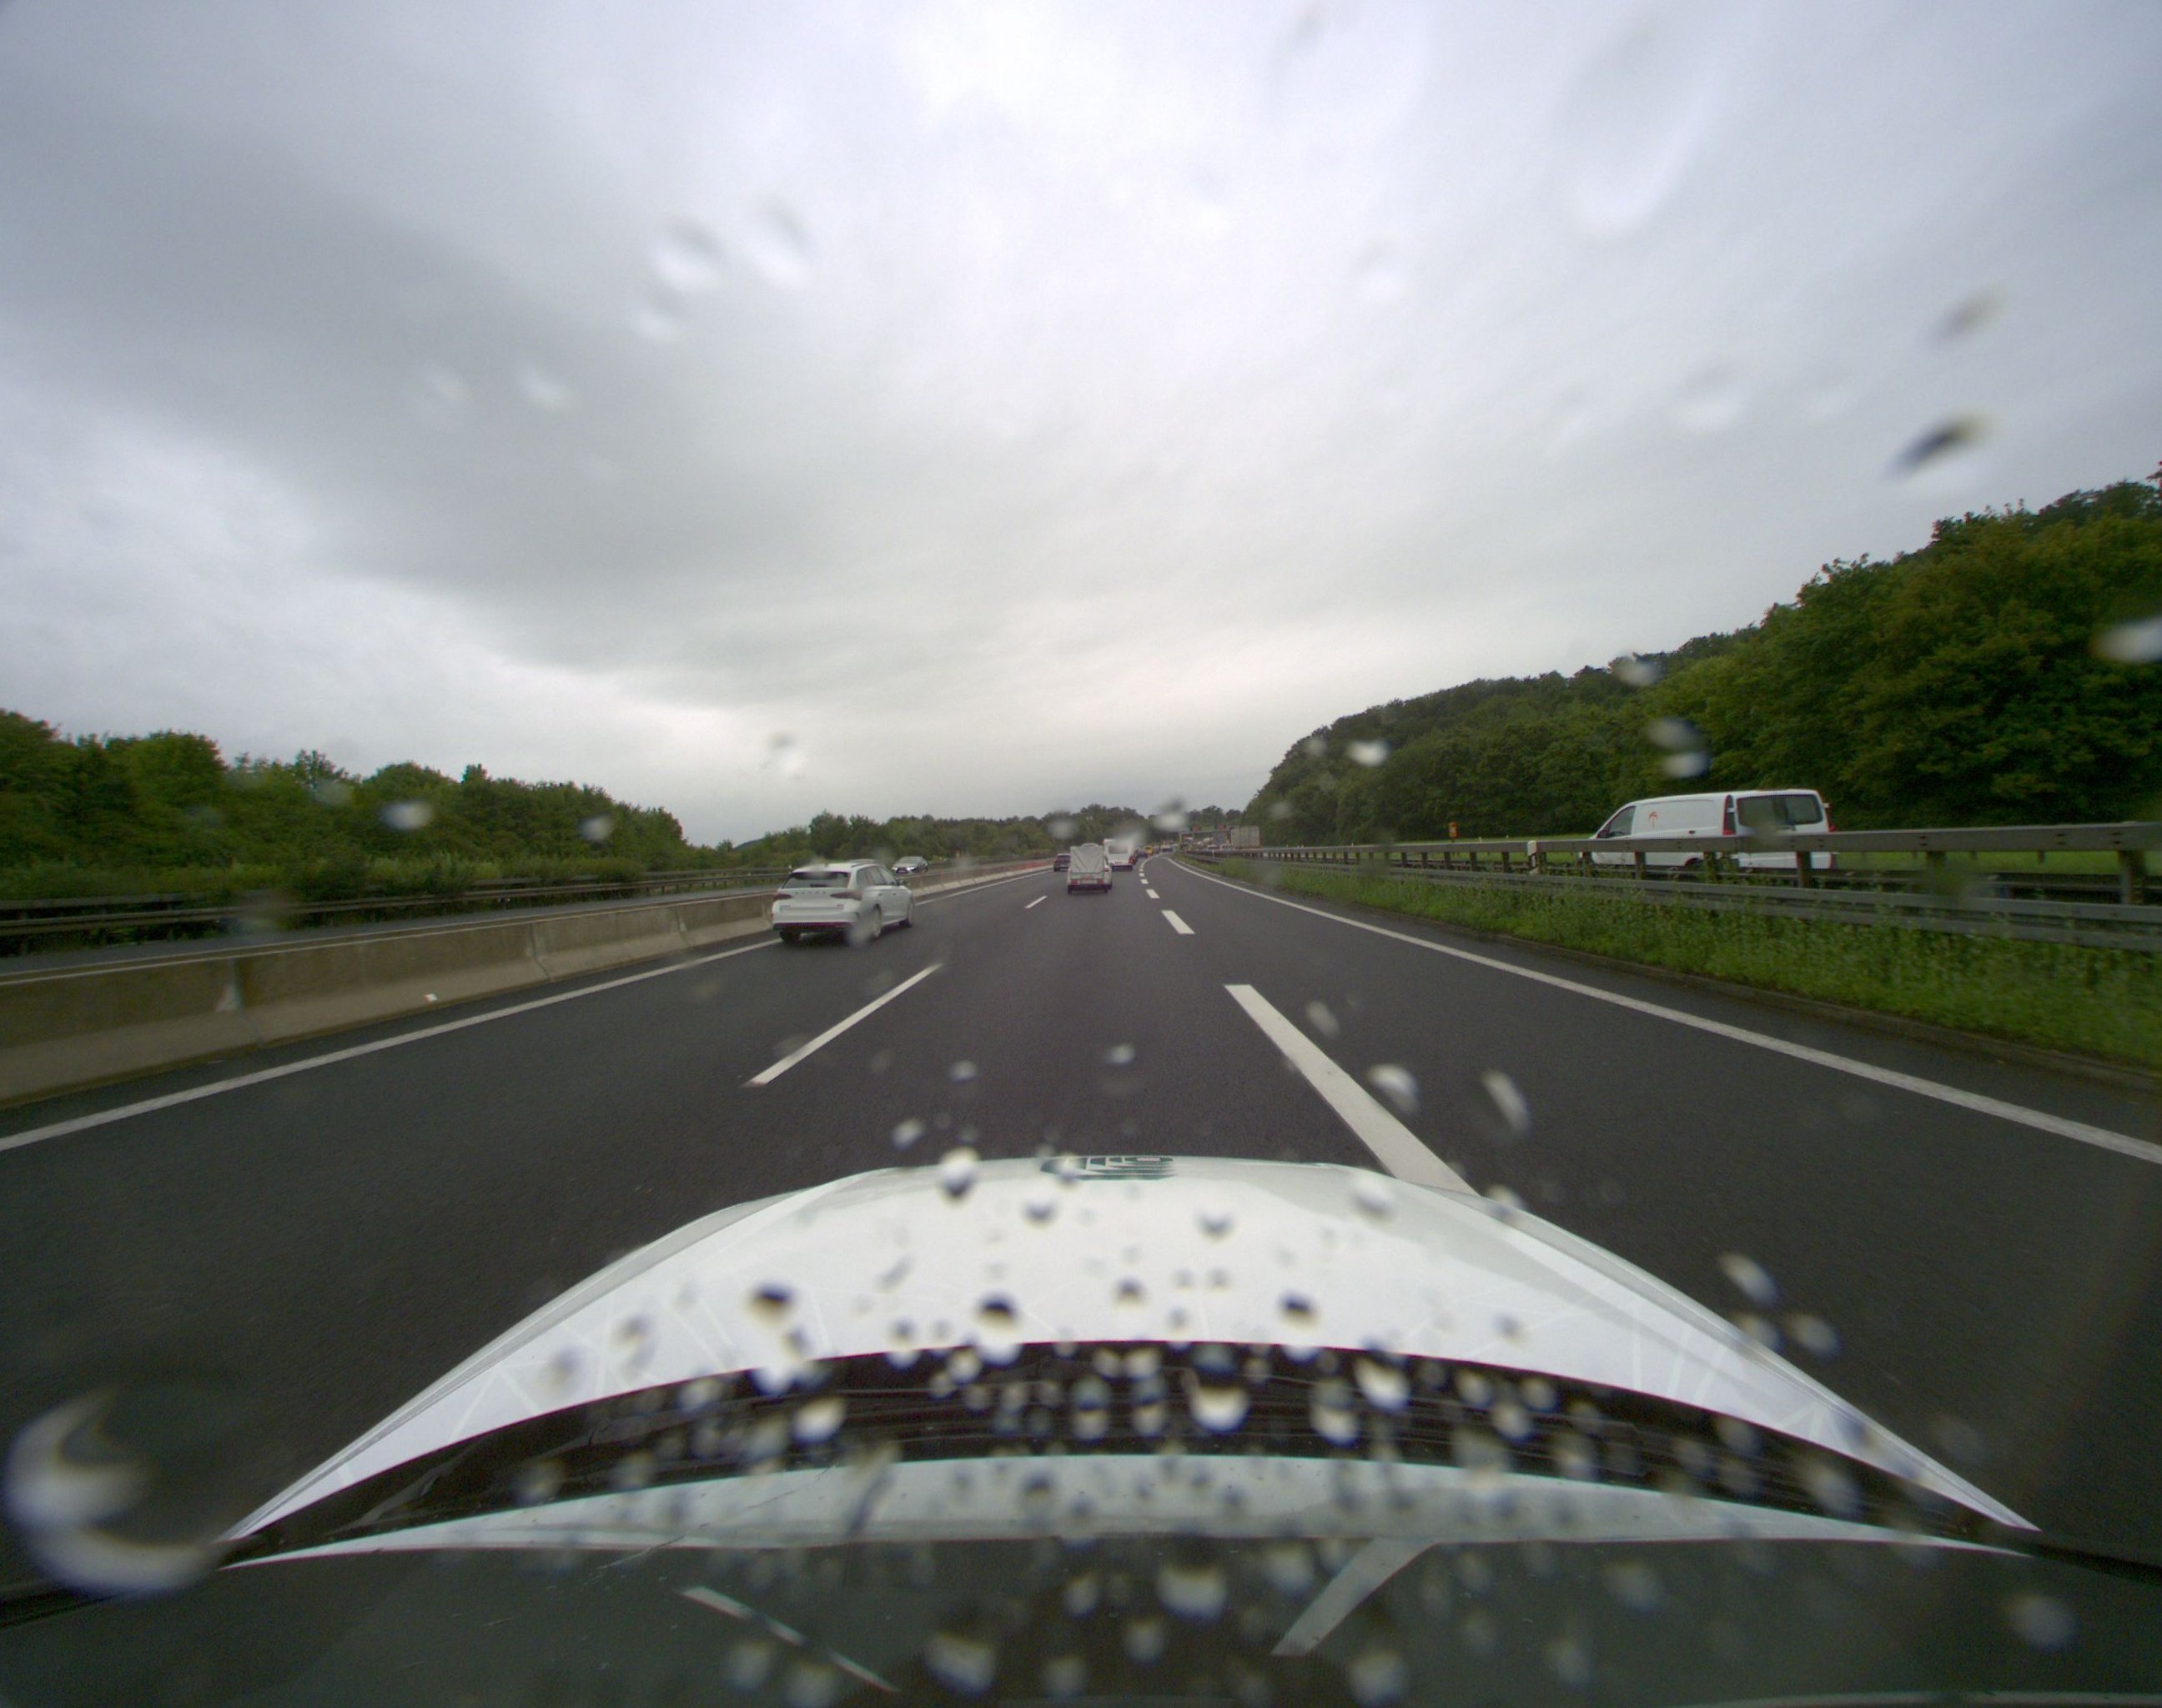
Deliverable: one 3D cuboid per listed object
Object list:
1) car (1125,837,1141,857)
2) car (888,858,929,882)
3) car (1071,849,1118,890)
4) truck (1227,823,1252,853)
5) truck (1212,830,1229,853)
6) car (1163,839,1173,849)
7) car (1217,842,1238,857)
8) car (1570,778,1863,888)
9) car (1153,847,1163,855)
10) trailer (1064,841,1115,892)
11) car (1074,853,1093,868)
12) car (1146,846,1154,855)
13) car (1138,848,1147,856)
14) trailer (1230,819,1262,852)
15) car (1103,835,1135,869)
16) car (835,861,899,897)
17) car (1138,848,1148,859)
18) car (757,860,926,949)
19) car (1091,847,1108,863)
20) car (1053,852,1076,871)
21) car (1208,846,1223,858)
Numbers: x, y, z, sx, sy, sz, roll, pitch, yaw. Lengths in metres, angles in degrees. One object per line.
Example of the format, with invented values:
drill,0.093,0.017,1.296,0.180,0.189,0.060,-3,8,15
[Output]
car,5.769,-0.751,90.288,1.668,2.067,4.004,-2,-1,4
car,-13.056,1.178,62.006,1.884,1.650,4.605,-2,0,2
car,0.661,0.646,35.783,1.810,1.616,4.782,-2,0,4
truck,21.719,-2.142,111.710,2.603,3.884,6.401,-2,-1,5
truck,30.398,-2.599,177.604,3.197,4.666,13.064,-2,0,9
car,24.339,-2.890,228.450,2.501,2.574,5.324,-2,-1,8
car,15.963,-0.474,88.963,1.660,1.382,4.128,-4,0,2
car,11.598,-0.368,15.403,1.902,1.693,4.720,-2,1,1
car,18.346,-0.687,193.471,2.025,1.683,4.011,-2,0,9
trailer,0.388,0.476,32.286,1.668,1.812,4.005,-2,0,5
car,0.274,0.696,86.890,1.758,1.456,4.003,-2,0,3
car,14.603,-0.803,171.877,1.667,1.812,4.006,-2,0,6
car,16.529,-0.475,218.486,1.982,2.014,4.009,-2,-1,8
trailer,21.147,-2.229,104.839,2.591,3.894,12.509,-2,0,5
car,3.143,-0.143,67.029,2.497,2.585,5.703,-2,0,3
car,-11.055,1.258,42.409,1.986,1.711,4.305,-2,0,2
car,10.985,-0.111,143.166,1.668,1.812,4.005,-2,0,4
car,-4.604,0.894,16.476,1.811,1.456,4.780,-2,0,2
car,2.367,0.106,103.628,1.986,1.919,4.002,-2,-1,2
car,-1.407,0.618,68.836,1.669,1.456,4.002,-2,0,2
car,19.510,-0.251,118.459,1.761,1.610,4.651,-2,0,6
